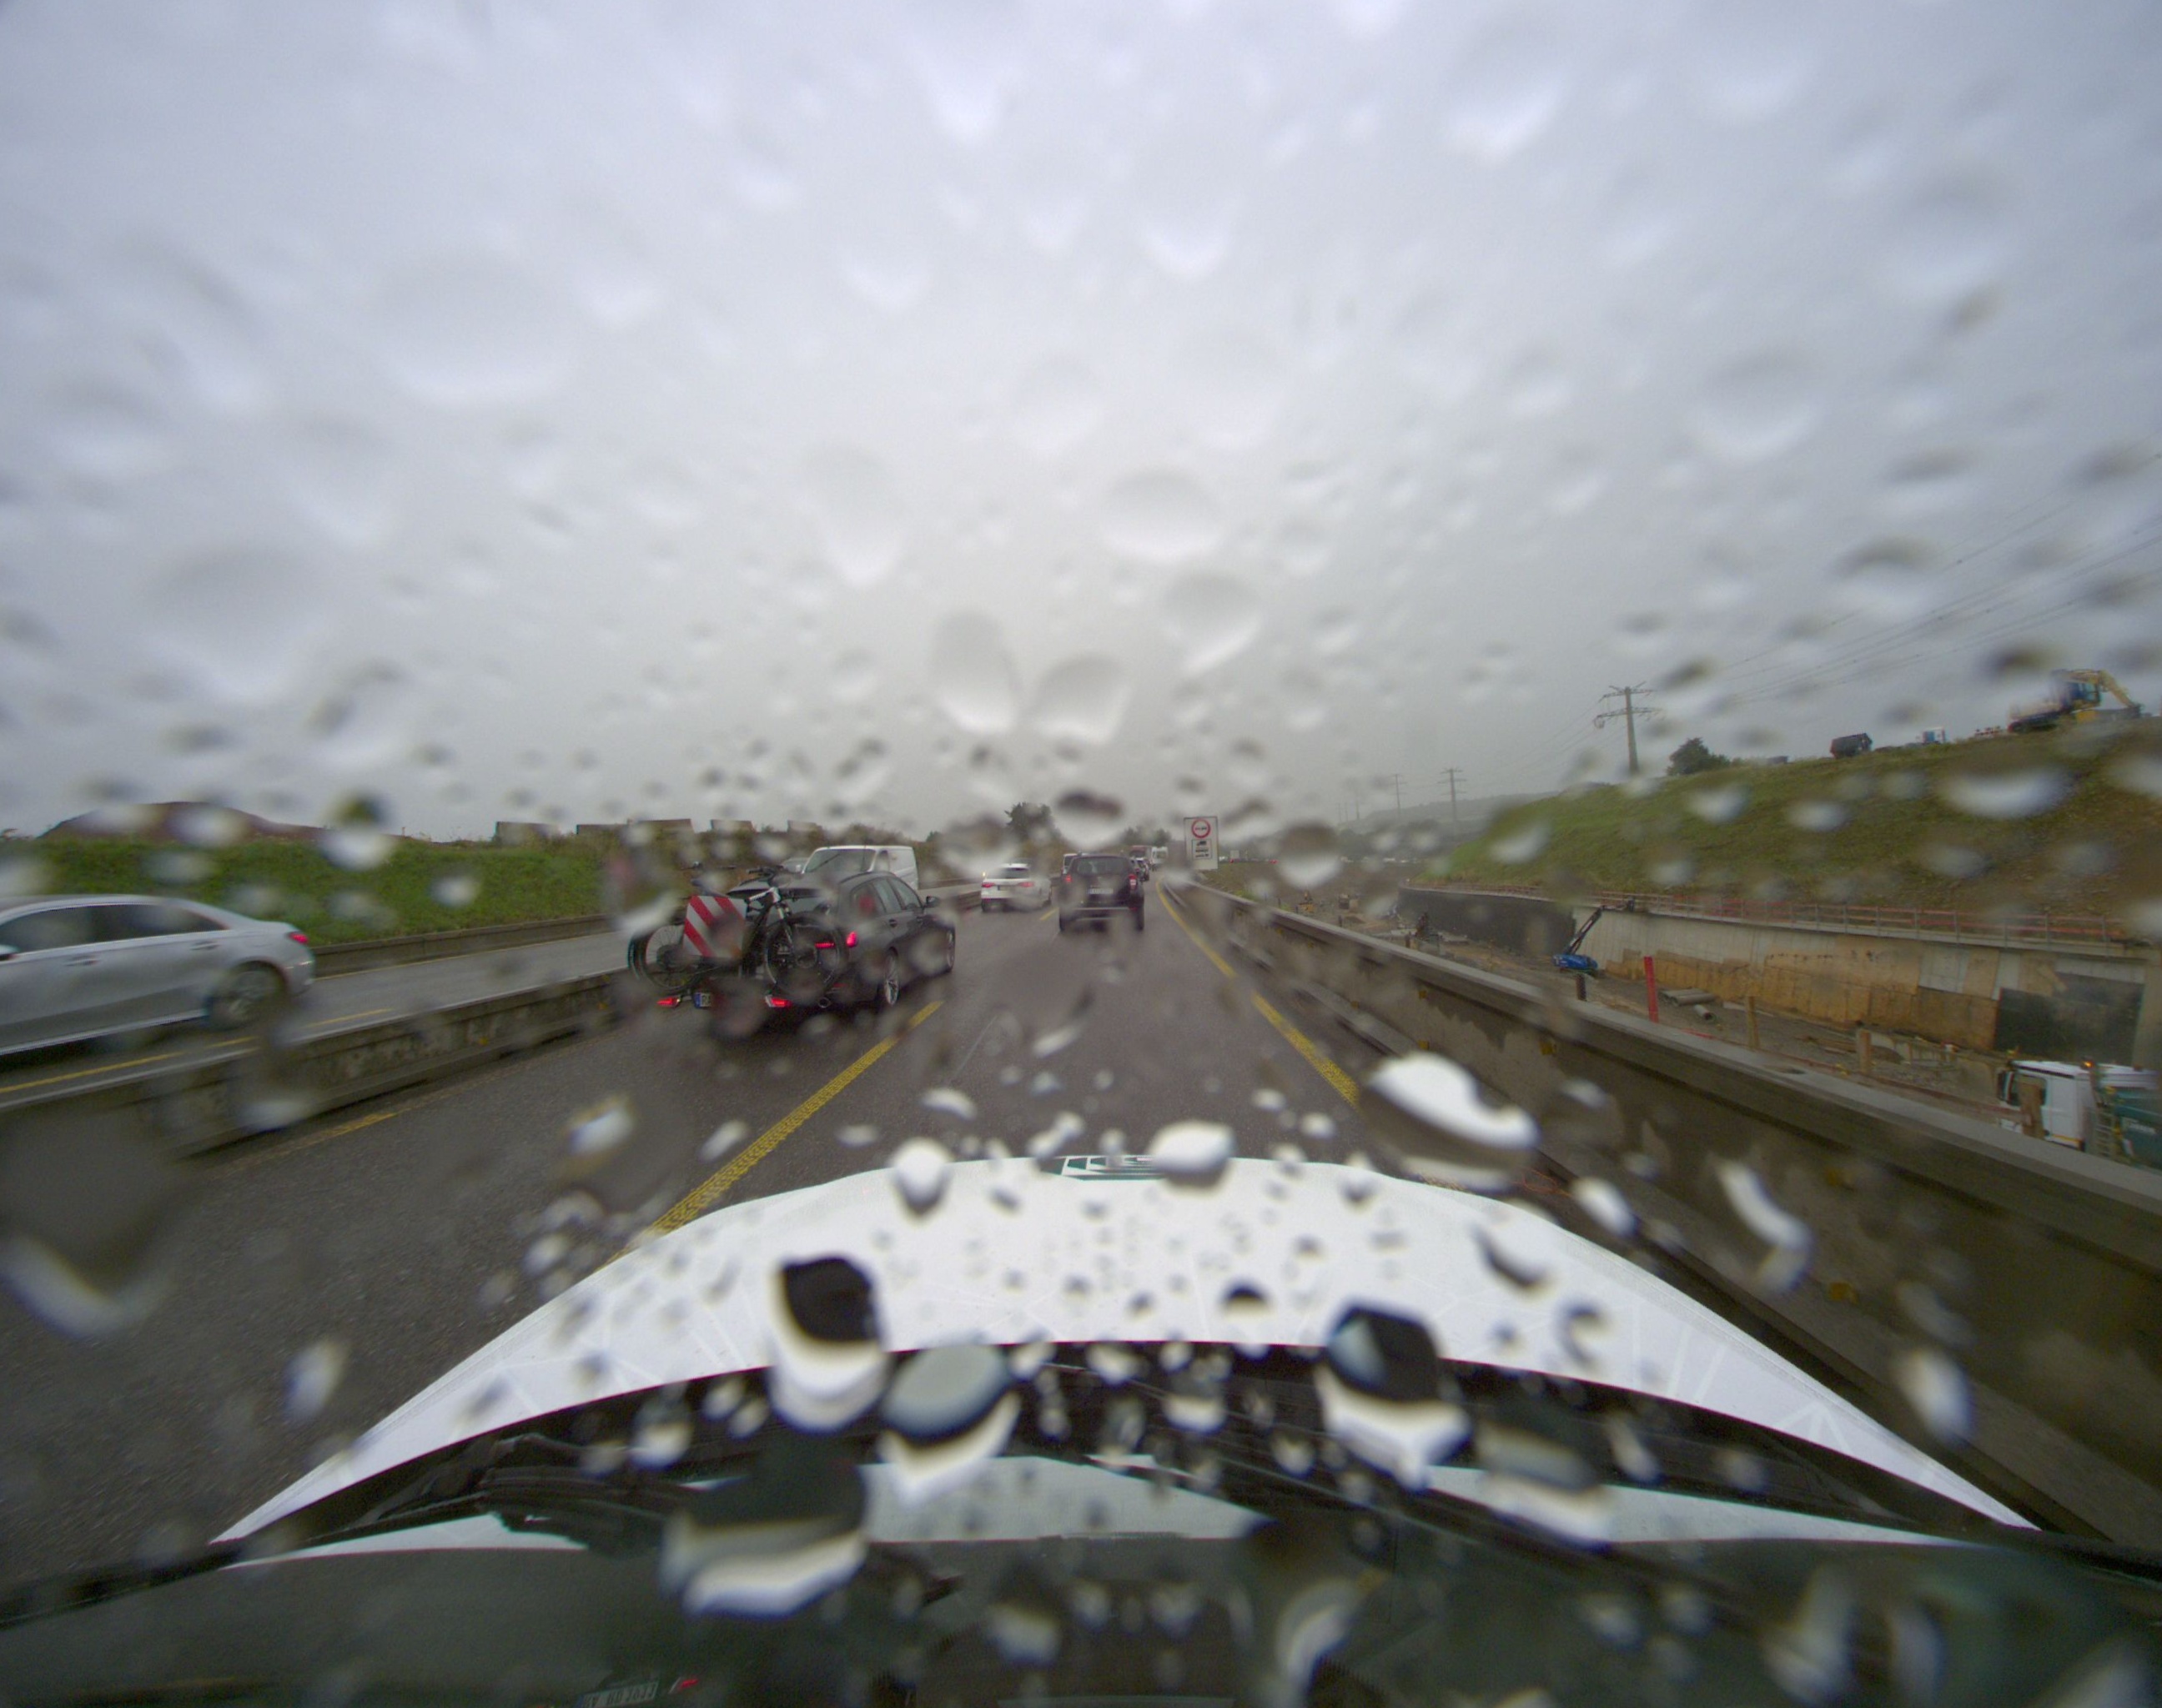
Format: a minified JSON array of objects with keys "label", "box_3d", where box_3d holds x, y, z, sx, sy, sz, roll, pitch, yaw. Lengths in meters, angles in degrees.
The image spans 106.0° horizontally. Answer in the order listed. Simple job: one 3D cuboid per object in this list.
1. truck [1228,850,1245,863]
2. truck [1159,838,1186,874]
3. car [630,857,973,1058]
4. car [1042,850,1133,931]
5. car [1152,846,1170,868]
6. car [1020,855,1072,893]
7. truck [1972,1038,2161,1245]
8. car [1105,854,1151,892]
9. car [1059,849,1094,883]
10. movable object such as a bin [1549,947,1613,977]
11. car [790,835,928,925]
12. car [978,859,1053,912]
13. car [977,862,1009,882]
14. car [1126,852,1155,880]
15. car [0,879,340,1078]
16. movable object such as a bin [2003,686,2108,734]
[{"label":"truck","box_3d":[44.977,0.649,235.200,3.444,3.715,8.457,-2,0,18]},{"label":"truck","box_3d":[13.940,0.351,123.209,3.523,5.077,10.467,-1,-1,9]},{"label":"car","box_3d":[-2.658,0.861,9.454,1.727,1.462,5.634,-1,1,3]},{"label":"car","box_3d":[0.239,0.761,18.304,1.819,1.591,4.003,-1,-1,3]},{"label":"car","box_3d":[9.347,0.386,95.394,1.815,2.437,4.168,-1,-1,9]},{"label":"car","box_3d":[-1.445,0.849,35.190,1.819,1.499,4.003,-1,-1,3]},{"label":"truck","box_3d":[23.847,6.391,16.301,2.716,3.491,9.079,-1,-1,6]},{"label":"car","box_3d":[1.986,0.785,34.855,1.819,1.499,4.003,-1,-1,3]},{"label":"car","box_3d":[-0.219,0.709,46.413,1.819,1.815,4.002,-1,-1,2]},{"label":"movable object such as a bin","box_3d":[39.556,8.512,64.529,2.008,2.014,3.799,3,-4,-35]},{"label":"car","box_3d":[-5.488,0.580,20.907,1.986,1.999,4.971,-1,0,2]},{"label":"car","box_3d":[-1.960,0.941,25.642,1.819,1.499,4.003,-1,-1,3]},{"label":"car","box_3d":[-6.310,1.282,58.791,1.573,1.383,4.005,-1,0,4]},{"label":"car","box_3d":[4.059,0.803,55.358,1.818,1.815,4.005,-1,-1,5]},{"label":"car","box_3d":[-9.544,1.044,7.037,1.985,1.501,4.539,-1,0,3]},{"label":"movable object such as a bin","box_3d":[63.657,-9.353,53.331,2.415,2.443,3.979,-1,1,9]}]
